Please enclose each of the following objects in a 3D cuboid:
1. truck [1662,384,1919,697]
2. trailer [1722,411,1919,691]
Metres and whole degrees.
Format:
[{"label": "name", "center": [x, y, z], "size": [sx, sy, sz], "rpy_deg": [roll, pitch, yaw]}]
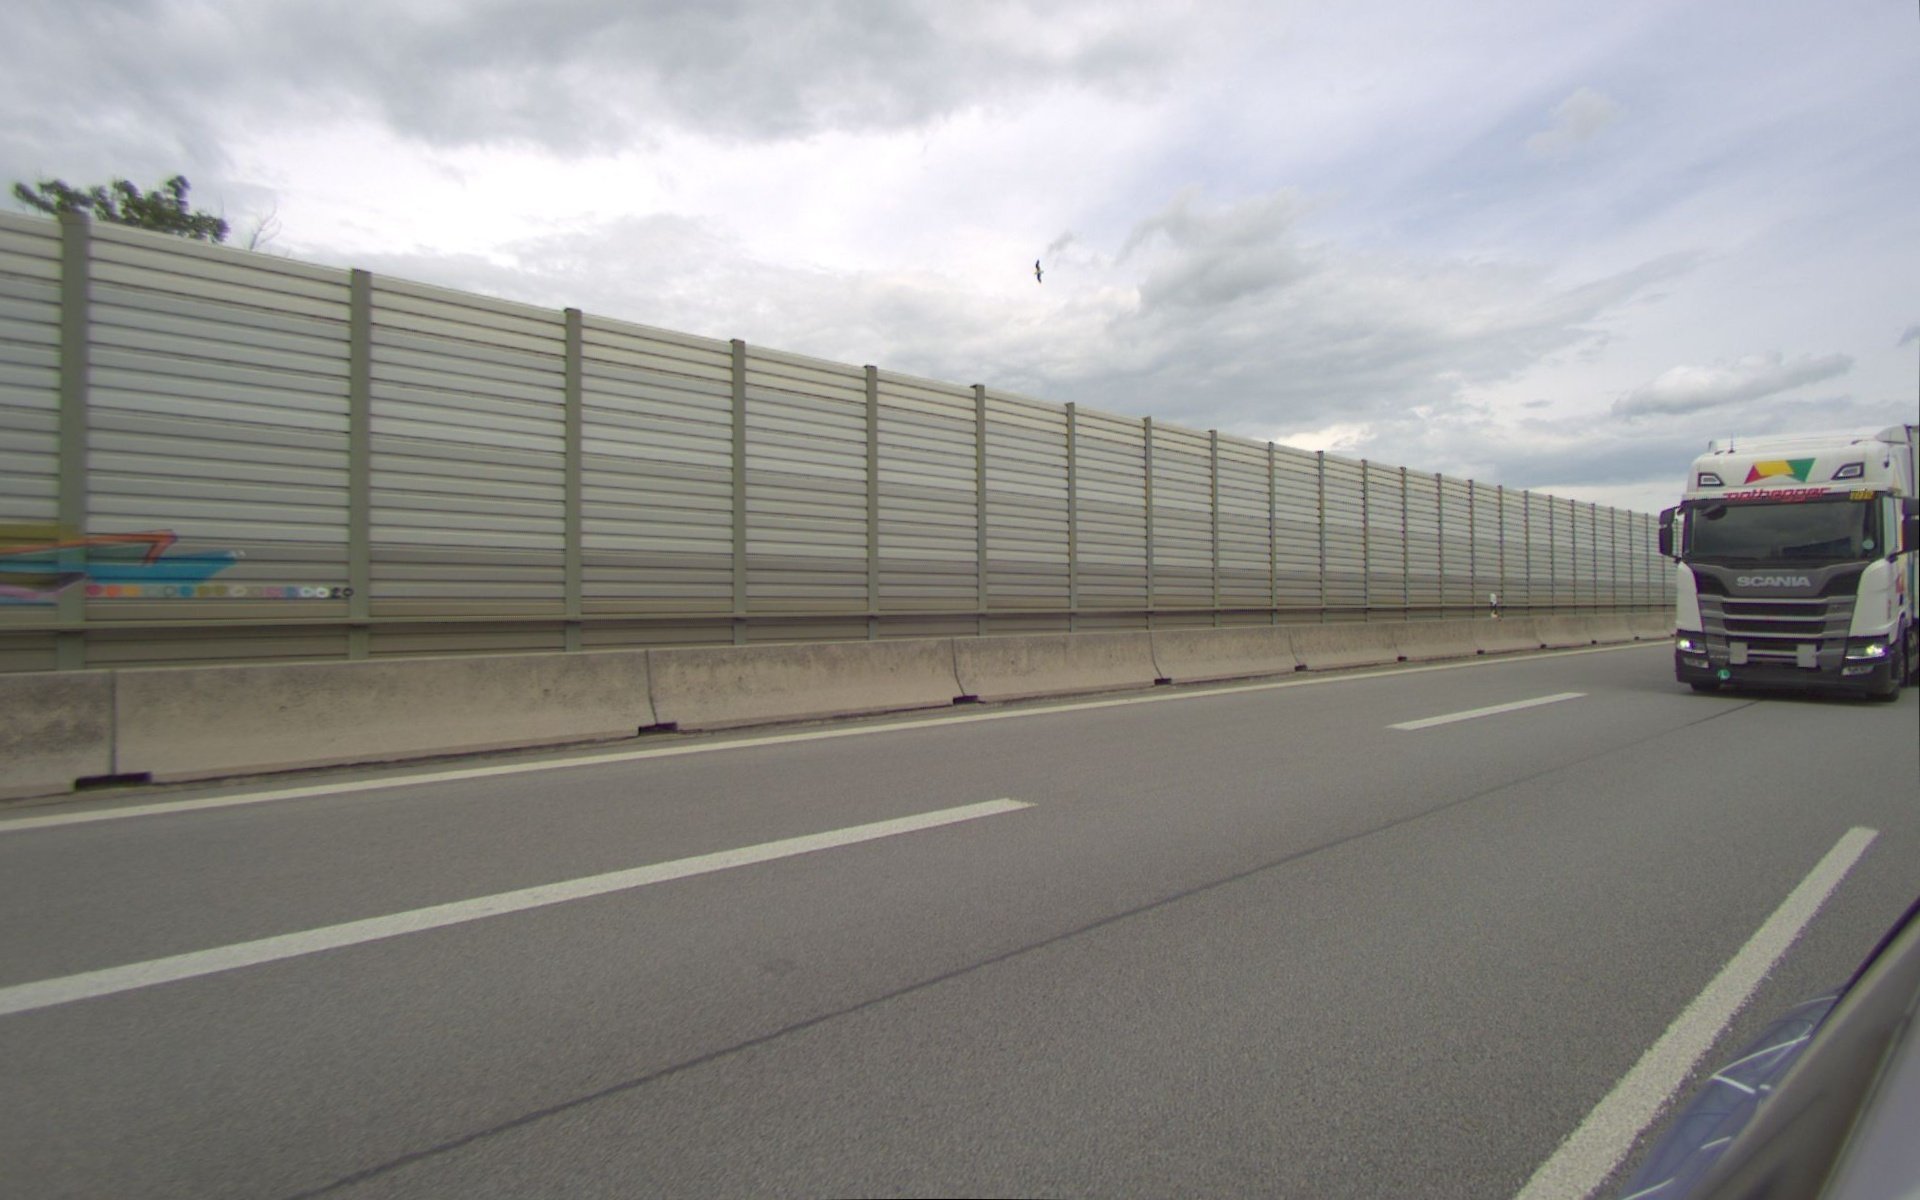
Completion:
[{"label": "truck", "center": [13.480, -0.748, 15.821], "size": [5.576, 4.010, 2.761], "rpy_deg": [1, -1, -40]}, {"label": "trailer", "center": [18.993, -0.789, 20.697], "size": [13.860, 4.227, 2.796], "rpy_deg": [0, 0, -42]}]
